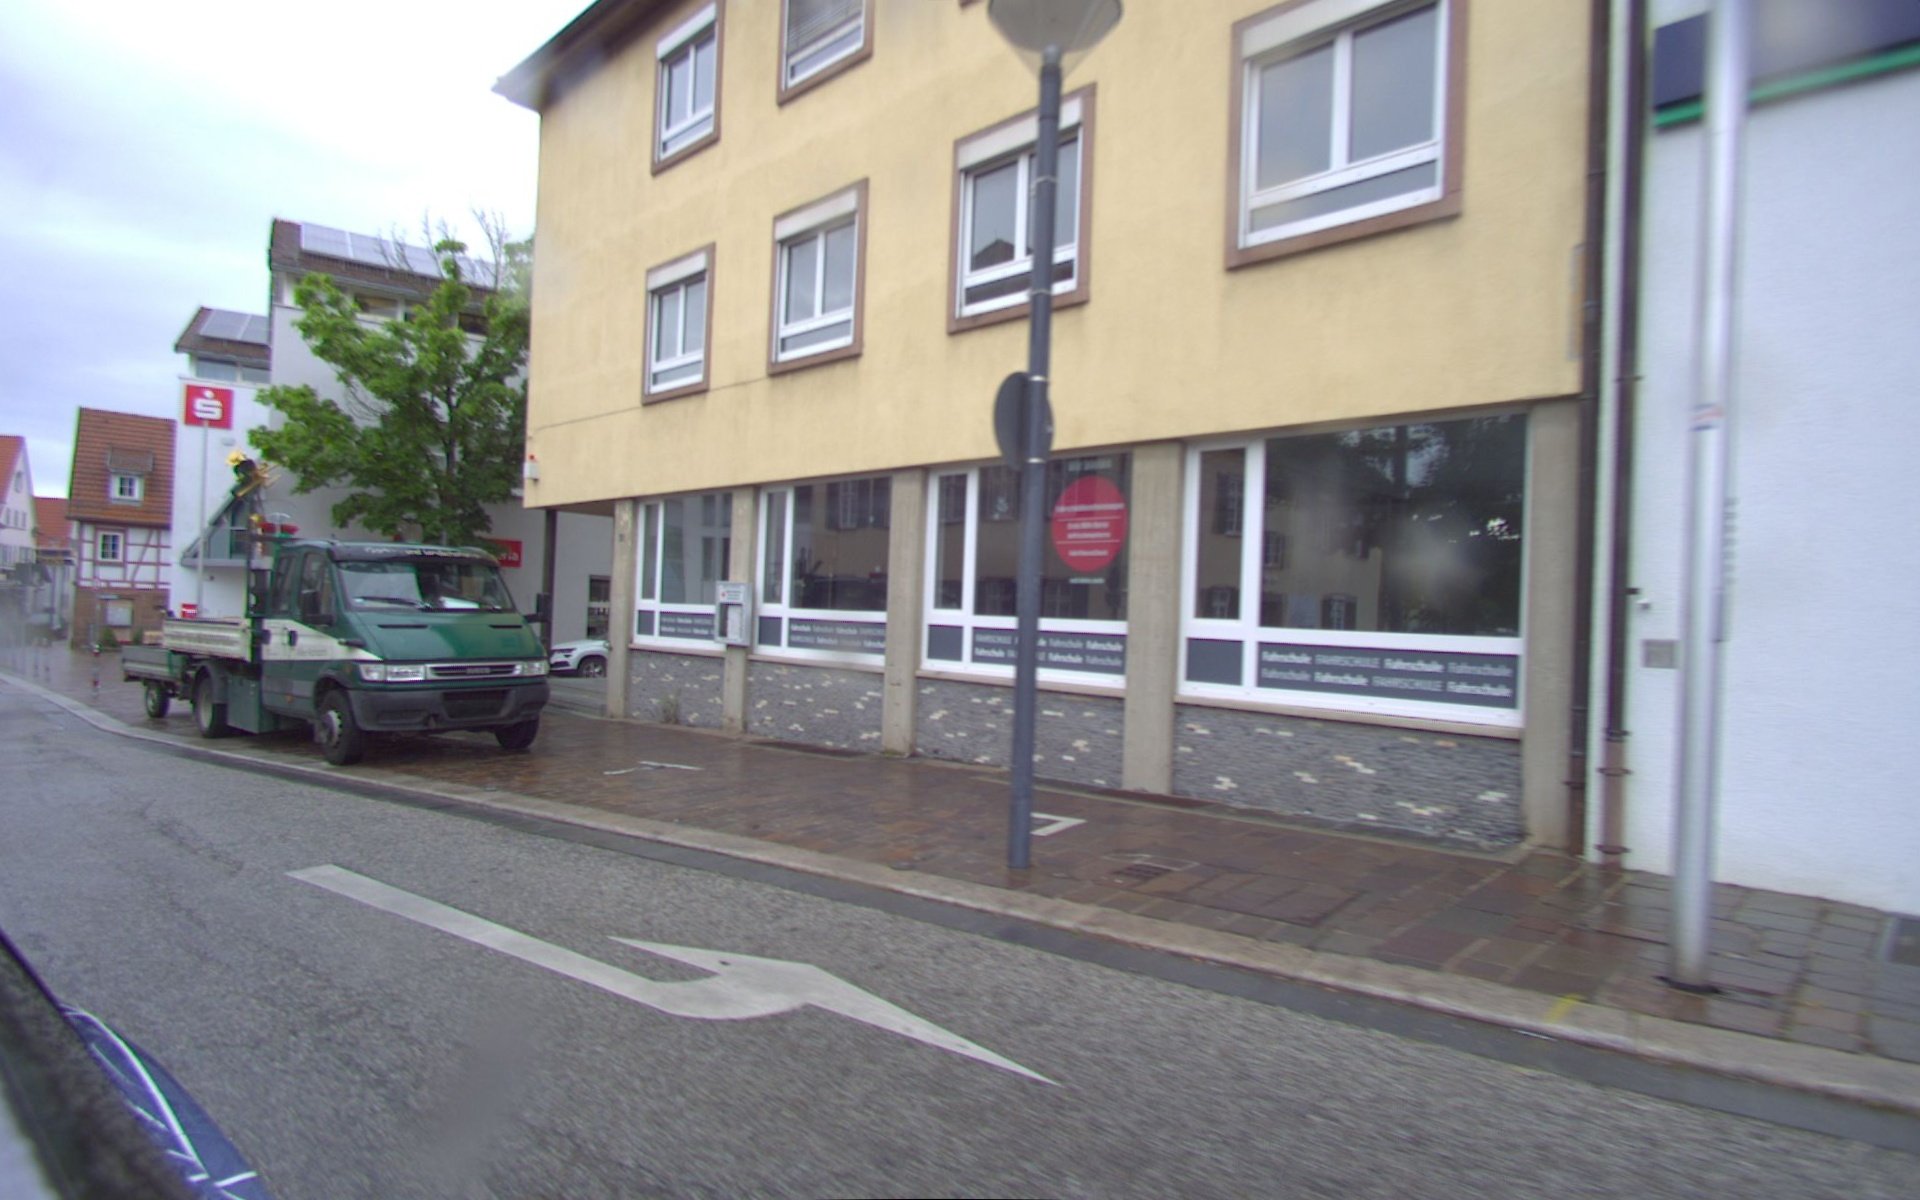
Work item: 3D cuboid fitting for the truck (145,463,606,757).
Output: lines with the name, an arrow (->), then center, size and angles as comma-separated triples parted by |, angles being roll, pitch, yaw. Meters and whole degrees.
truck -> -7.105, 0.260, 11.930 | 6.472, 2.615, 2.377 | -3, -4, 37

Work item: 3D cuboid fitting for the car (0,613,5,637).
car -> -56.941, 1.410, 58.381 | 1.837, 1.472, 4.011 | 4, -3, -32

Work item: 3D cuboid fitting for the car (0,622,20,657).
car -> -42.995, 1.730, 44.944 | 1.781, 1.453, 4.004 | 2, -2, -43

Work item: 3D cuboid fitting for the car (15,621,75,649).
car -> -49.661, 1.885, 54.972 | 1.778, 1.453, 4.011 | 2, -1, -33

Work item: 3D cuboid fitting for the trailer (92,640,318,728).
trailer -> -10.956, 1.180, 14.670 | 3.014, 1.133, 1.835 | -3, -4, 37
